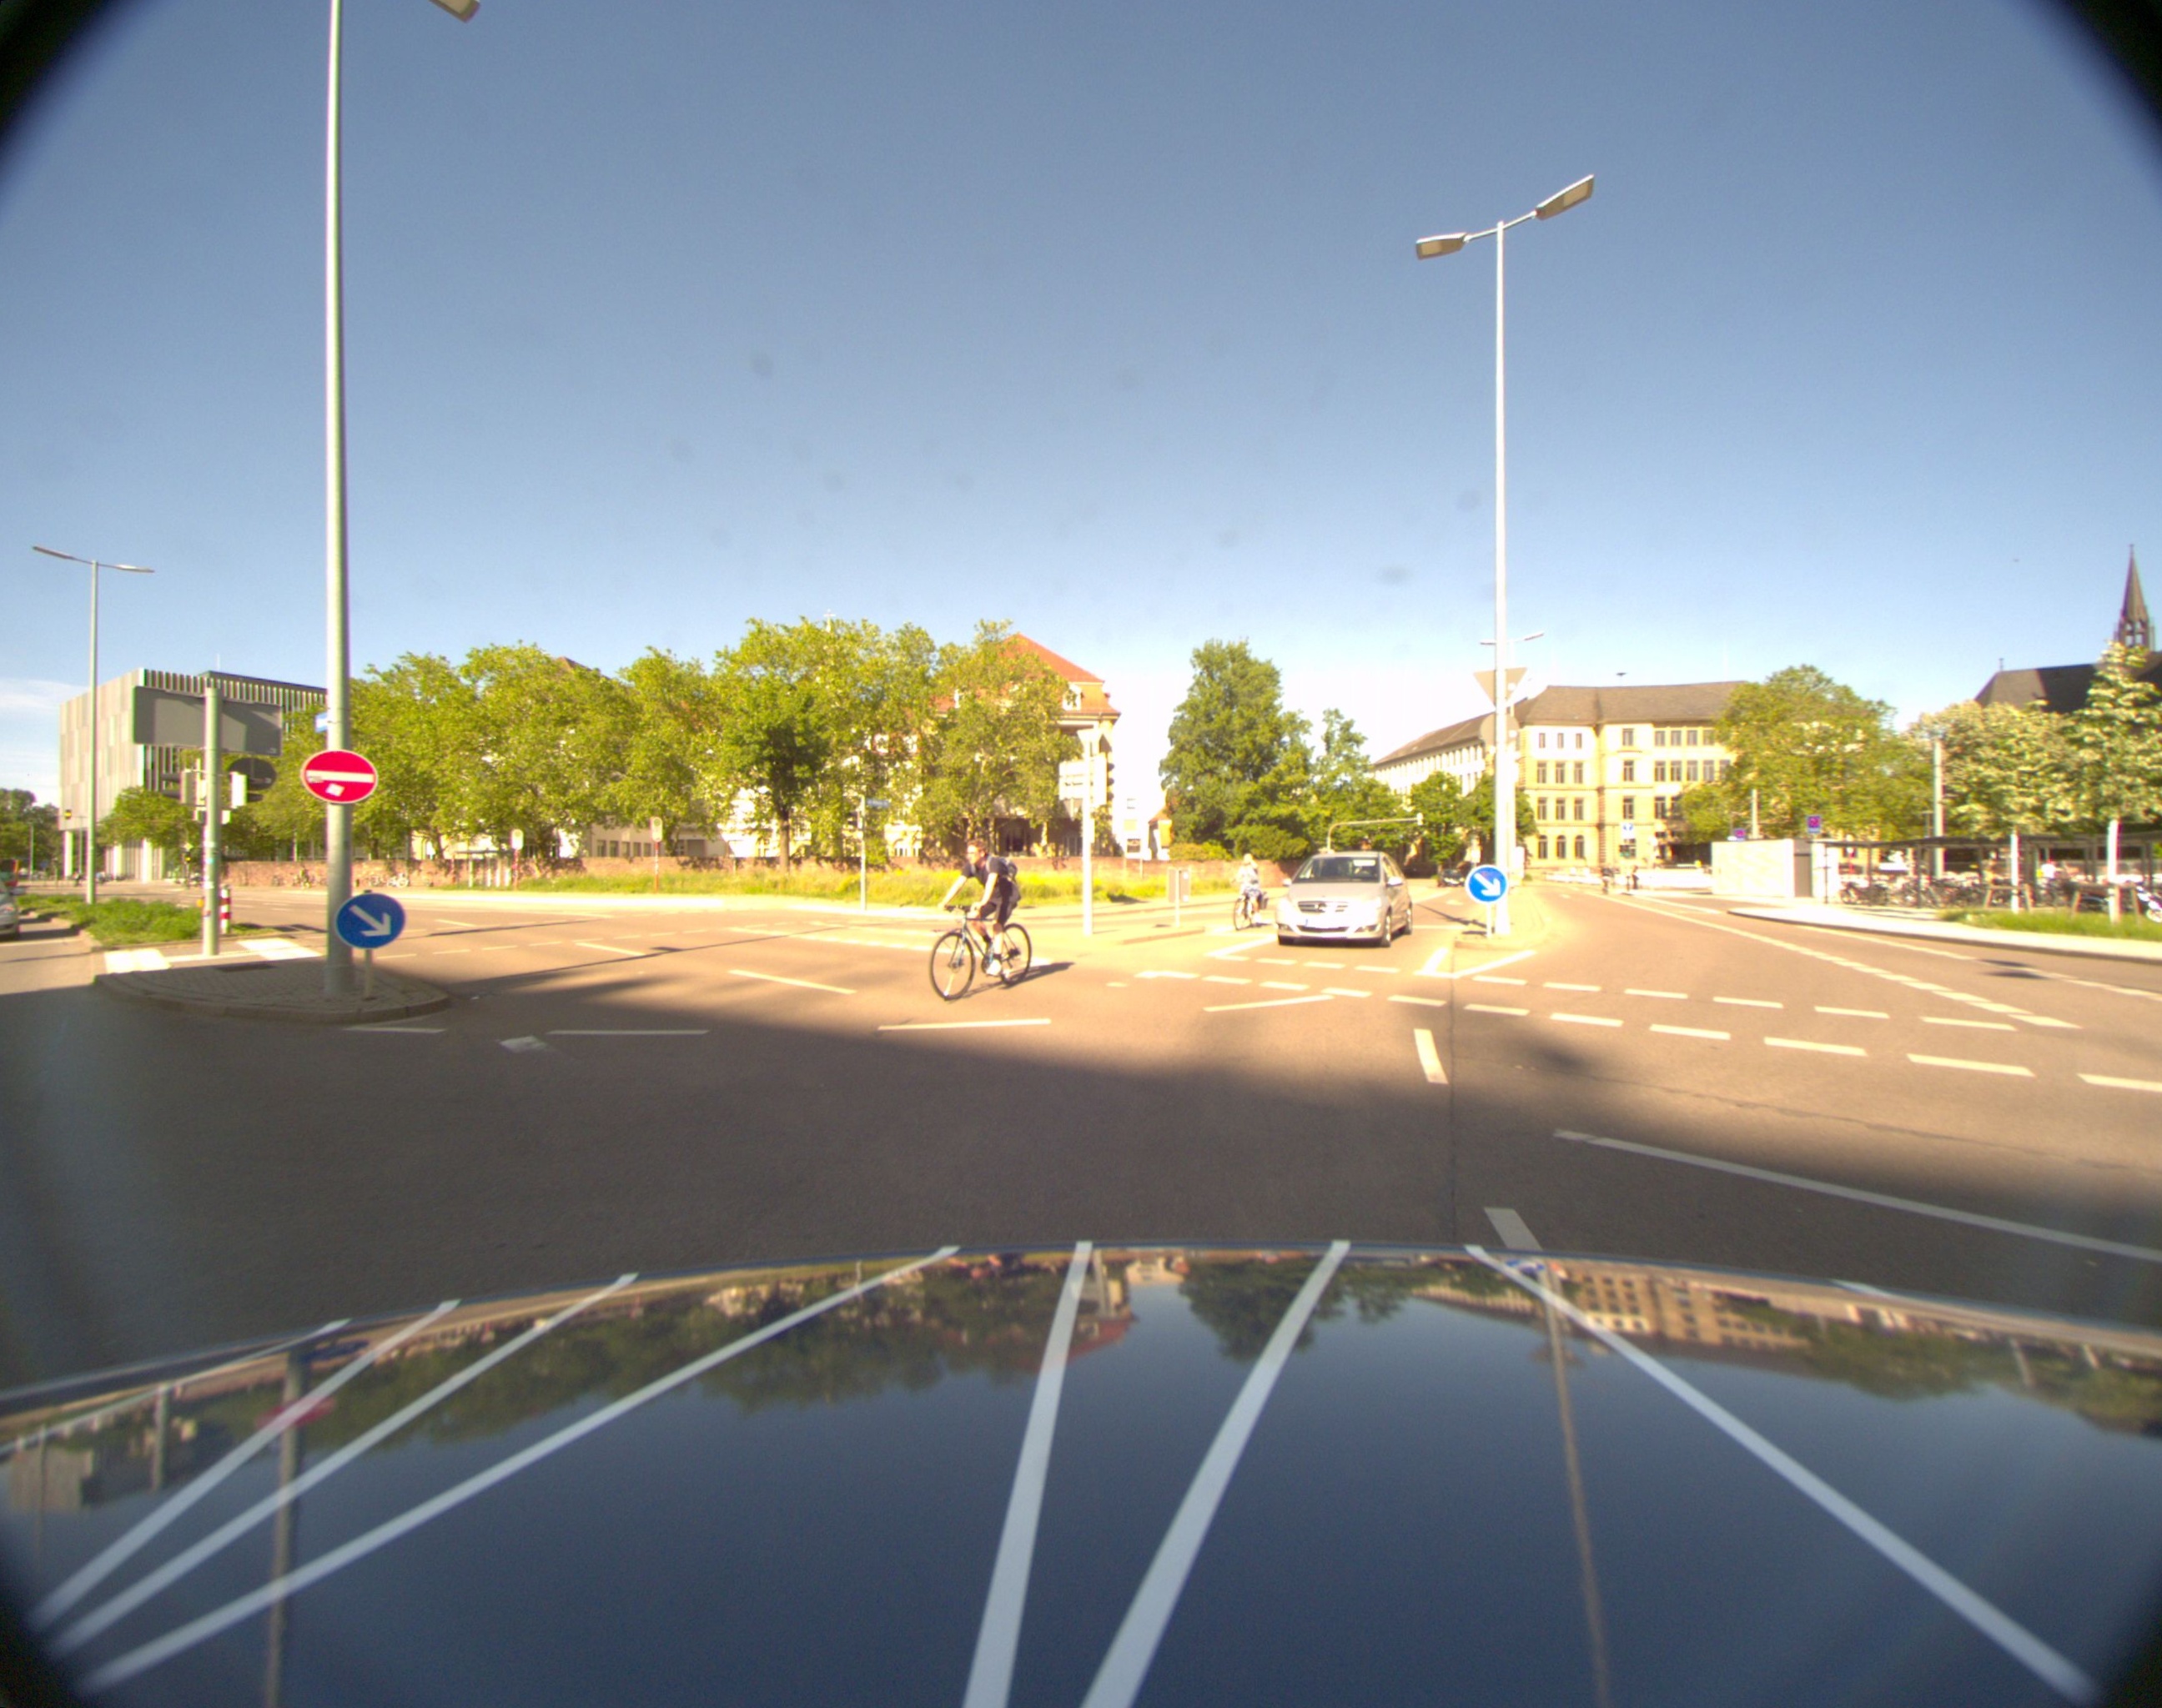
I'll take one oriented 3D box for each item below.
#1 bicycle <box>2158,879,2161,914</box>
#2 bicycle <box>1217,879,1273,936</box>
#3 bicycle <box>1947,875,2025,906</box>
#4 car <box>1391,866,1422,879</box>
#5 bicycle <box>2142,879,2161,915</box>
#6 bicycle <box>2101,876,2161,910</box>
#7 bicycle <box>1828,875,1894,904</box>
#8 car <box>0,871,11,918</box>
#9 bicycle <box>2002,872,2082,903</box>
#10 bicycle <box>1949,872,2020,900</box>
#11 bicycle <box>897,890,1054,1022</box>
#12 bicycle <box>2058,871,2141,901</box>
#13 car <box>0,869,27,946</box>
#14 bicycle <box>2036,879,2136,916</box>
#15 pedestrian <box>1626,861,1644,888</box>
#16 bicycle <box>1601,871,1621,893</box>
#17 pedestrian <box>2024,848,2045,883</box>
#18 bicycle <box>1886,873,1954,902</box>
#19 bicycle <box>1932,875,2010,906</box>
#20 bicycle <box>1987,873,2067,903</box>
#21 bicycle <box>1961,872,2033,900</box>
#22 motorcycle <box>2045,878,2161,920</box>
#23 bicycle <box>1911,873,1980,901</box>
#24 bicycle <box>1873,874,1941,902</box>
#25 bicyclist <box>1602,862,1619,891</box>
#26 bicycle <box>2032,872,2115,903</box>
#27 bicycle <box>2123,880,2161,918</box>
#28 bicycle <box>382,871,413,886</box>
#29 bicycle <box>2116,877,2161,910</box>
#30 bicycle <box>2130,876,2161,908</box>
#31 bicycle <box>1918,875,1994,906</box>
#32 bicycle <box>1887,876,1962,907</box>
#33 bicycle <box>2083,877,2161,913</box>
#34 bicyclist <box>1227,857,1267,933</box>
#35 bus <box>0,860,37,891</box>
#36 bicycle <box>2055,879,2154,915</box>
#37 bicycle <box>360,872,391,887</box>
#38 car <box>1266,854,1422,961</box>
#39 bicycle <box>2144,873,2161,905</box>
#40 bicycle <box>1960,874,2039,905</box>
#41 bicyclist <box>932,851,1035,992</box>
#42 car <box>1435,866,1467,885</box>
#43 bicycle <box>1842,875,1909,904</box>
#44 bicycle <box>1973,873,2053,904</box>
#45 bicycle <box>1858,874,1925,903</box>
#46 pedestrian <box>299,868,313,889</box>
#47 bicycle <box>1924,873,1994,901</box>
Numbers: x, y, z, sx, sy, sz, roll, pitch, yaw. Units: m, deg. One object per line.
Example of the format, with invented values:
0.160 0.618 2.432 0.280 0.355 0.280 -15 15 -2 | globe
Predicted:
32.291 1.271 21.650 0.568 1.032 1.787 1 0 -8 | bicycle
3.689 1.159 16.929 0.641 1.158 1.972 -2 -1 29 | bicycle
32.809 1.310 27.591 0.568 1.032 1.787 1 0 -8 | bicycle
48.104 2.727 112.206 3.804 1.805 1.997 0 -1 -17 | car
31.694 1.244 21.562 0.568 1.032 1.787 1 0 -8 | bicycle
33.840 1.243 24.065 0.568 1.032 1.787 1 0 -8 | bicycle
30.075 1.361 29.343 0.568 1.032 1.787 1 0 -8 | bicycle
-38.369 1.400 25.937 4.710 1.545 1.988 -1 1 34 | car
35.250 1.217 27.906 0.568 1.032 1.787 1 0 -8 | bicycle
35.845 1.259 30.185 0.568 1.032 1.787 1 0 -8 | bicycle
-1.079 1.024 8.241 0.641 1.158 1.873 -1 1 30 | bicycle
37.817 1.172 28.250 0.568 1.032 1.787 1 0 -8 | bicycle
-24.794 1.176 16.649 4.304 1.615 1.793 -1 1 34 | car
30.781 1.322 23.319 0.568 1.032 1.787 1 0 -8 | bicycle
35.396 1.301 48.532 0.788 1.670 0.649 -3 -1 31 | pedestrian
30.008 1.567 43.039 0.746 1.158 1.874 1 0 30 | bicycle
49.127 0.600 39.142 0.683 1.712 0.537 5 -4 -30 | pedestrian
32.779 1.304 29.721 0.568 1.032 1.787 1 0 -8 | bicycle
32.210 1.314 27.529 0.568 1.032 1.787 1 0 -8 | bicycle
34.648 1.239 27.857 0.568 1.032 1.787 1 0 -8 | bicycle
36.435 1.271 30.249 0.568 1.032 1.787 1 0 -8 | bicycle
29.326 1.279 21.863 0.595 1.112 1.985 0 -1 -3 | motorcycle
33.998 1.295 29.915 0.568 1.032 1.787 1 0 -8 | bicycle
32.155 1.303 29.622 0.568 1.032 1.787 1 0 -8 | bicycle
30.057 1.247 43.124 0.720 1.611 0.980 1 0 30 | bicyclist
36.577 1.222 28.033 0.568 1.032 1.787 1 0 -8 | bicycle
31.033 1.298 21.483 0.568 1.032 1.787 1 0 -8 | bicycle
-54.746 1.960 60.843 2.082 1.069 0.797 -3 -1 15 | bicycle
34.452 1.274 24.140 0.568 1.032 1.787 1 0 -8 | bicycle
35.042 1.234 24.244 0.568 1.032 1.787 1 0 -8 | bicycle
31.599 1.291 27.479 0.568 1.032 1.787 1 0 -8 | bicycle
30.311 1.342 27.337 0.568 1.032 1.787 1 0 -8 | bicycle
33.167 1.282 23.993 0.568 1.032 1.787 1 0 -8 | bicycle
3.718 0.898 16.980 0.641 1.653 0.778 -1 0 29 | bicyclist
-118.010 2.378 83.319 6.241 3.253 2.994 -3 -2 25 | bus
31.906 1.322 23.723 0.568 1.032 1.787 1 0 -8 | bicycle
-57.020 2.065 61.394 2.082 1.069 0.797 -3 -1 15 | bicycle
4.920 0.836 13.754 1.767 1.584 4.648 -1 -1 30 | car
35.632 1.151 24.335 0.568 1.032 1.787 1 0 -8 | bicycle
33.418 1.268 27.687 0.568 1.032 1.787 1 0 -8 | bicycle
-1.047 0.693 8.304 0.641 1.436 0.955 -1 1 30 | bicyclist
32.256 1.861 66.363 1.996 1.464 4.305 -3 -2 20 | car
30.721 1.359 29.428 0.568 1.032 1.787 1 0 -8 | bicycle
34.015 1.239 27.767 0.568 1.032 1.787 1 0 -8 | bicycle
31.471 1.334 29.532 0.568 1.032 1.787 1 0 -8 | bicycle
-62.556 1.969 61.330 0.557 1.601 0.654 -3 -1 28 | pedestrian
34.656 1.301 30.018 0.568 1.032 1.787 1 0 -8 | bicycle
